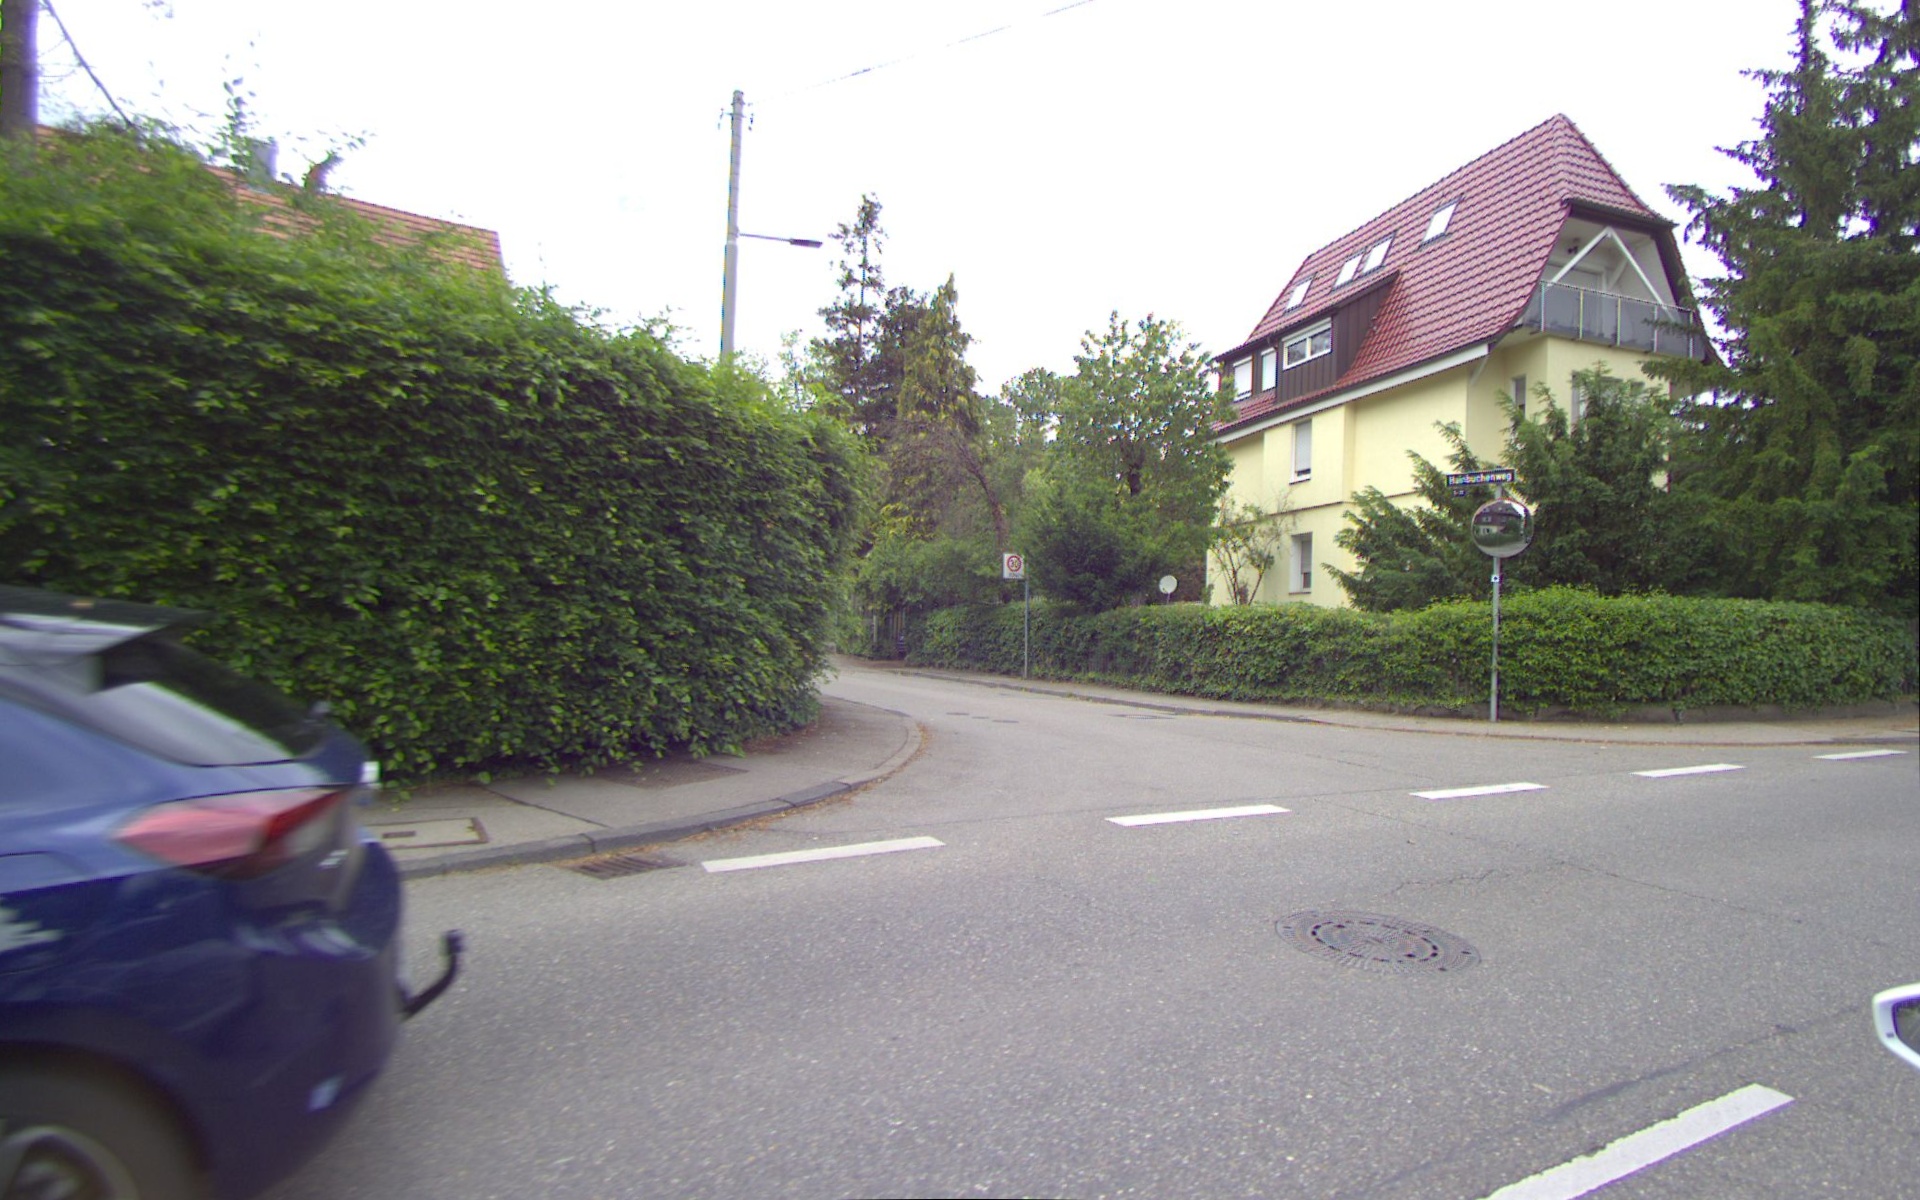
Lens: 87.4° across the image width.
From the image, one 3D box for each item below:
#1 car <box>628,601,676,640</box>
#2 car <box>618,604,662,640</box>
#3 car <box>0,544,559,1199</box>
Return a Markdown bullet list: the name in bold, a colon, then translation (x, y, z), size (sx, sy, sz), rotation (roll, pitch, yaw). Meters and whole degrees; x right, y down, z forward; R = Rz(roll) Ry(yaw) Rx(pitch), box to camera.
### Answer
- **car**: translation (-16.819, 1.080, 54.738), size (1.973, 2.040, 3.976), rotation (1, -1, -24)
- **car**: translation (-18.918, 1.280, 59.280), size (1.973, 2.040, 3.976), rotation (1, -1, -24)
- **car**: translation (-3.012, 0.621, 1.817), size (4.045, 1.458, 1.748), rotation (1, 0, -30)
